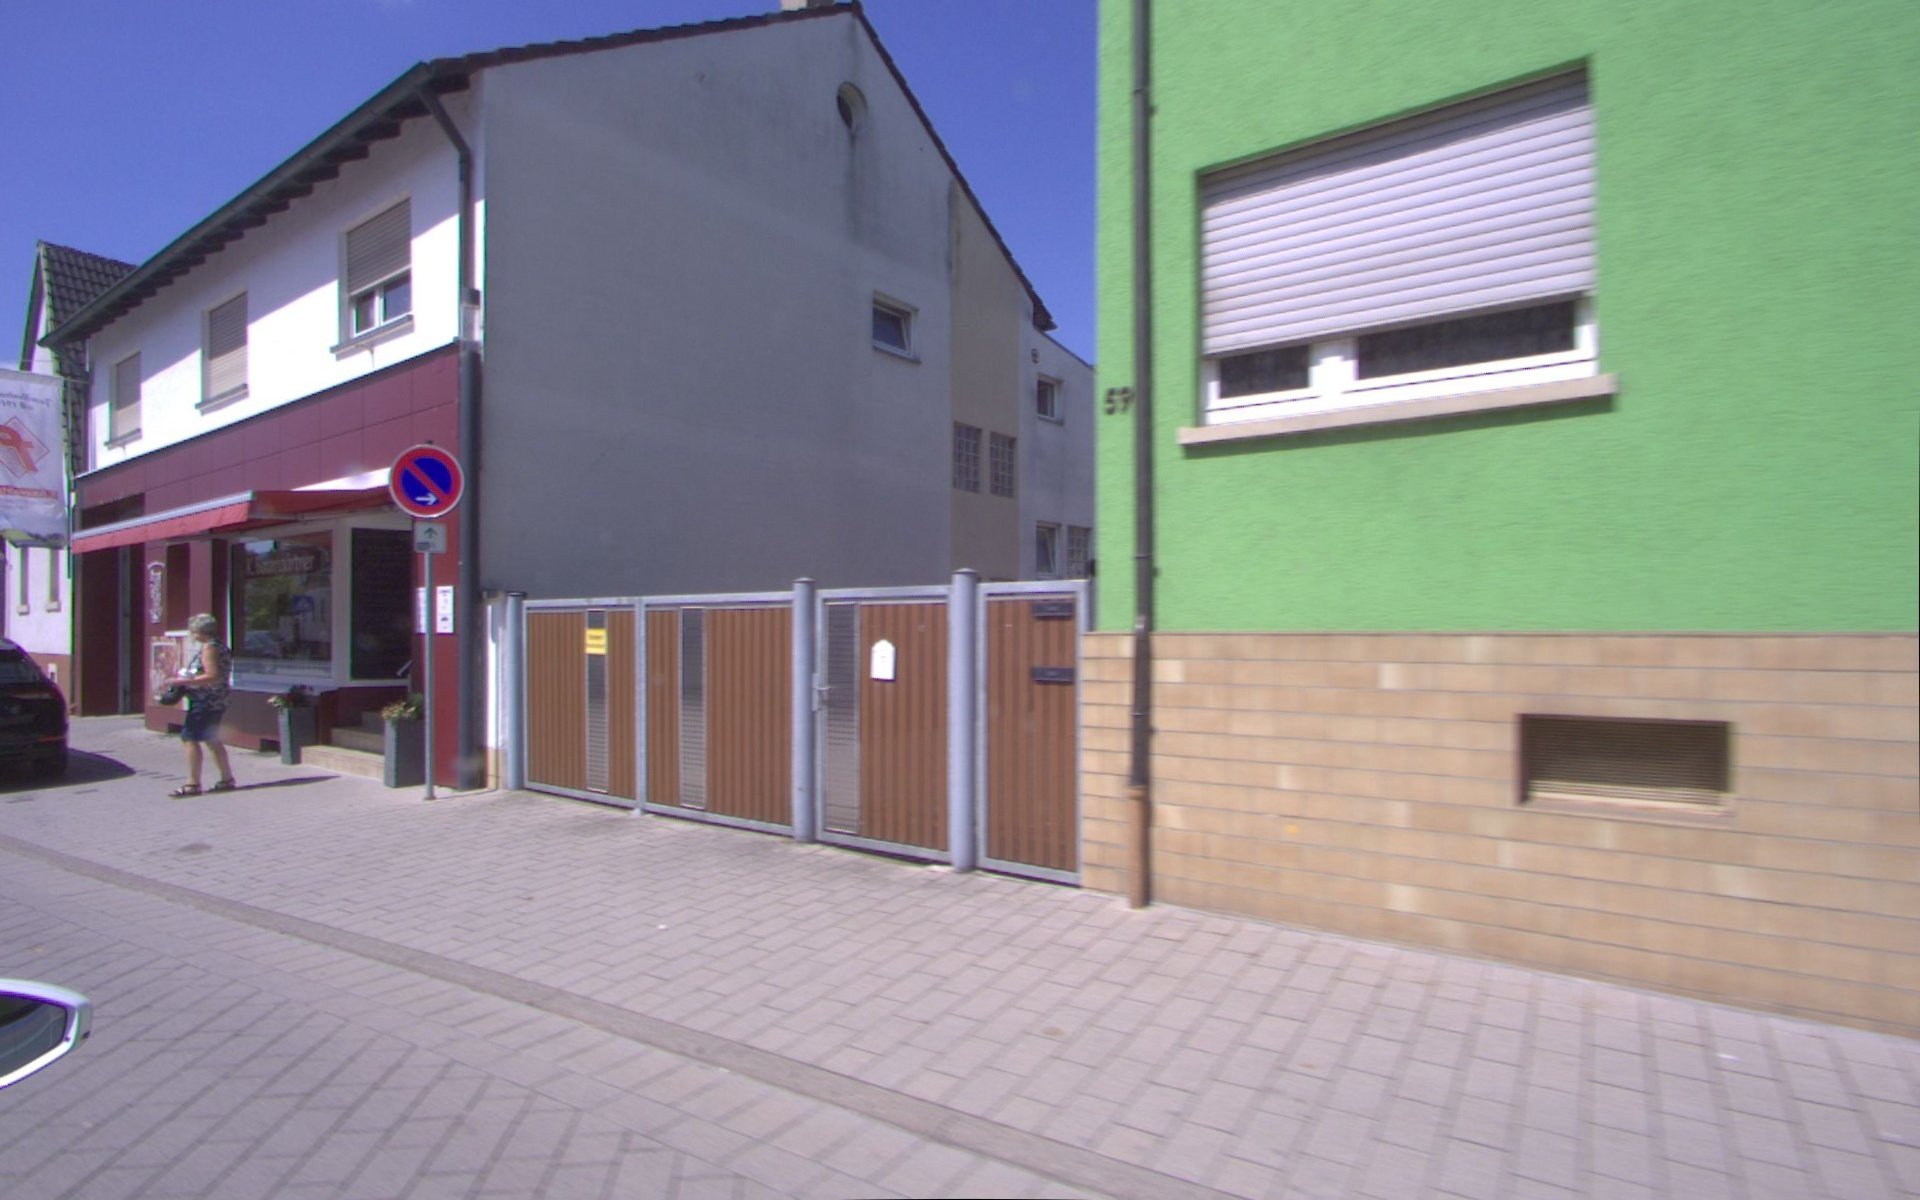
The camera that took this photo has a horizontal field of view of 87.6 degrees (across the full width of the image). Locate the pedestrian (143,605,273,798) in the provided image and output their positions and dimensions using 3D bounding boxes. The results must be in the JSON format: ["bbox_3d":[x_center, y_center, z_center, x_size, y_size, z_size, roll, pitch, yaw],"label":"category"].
[{"bbox_3d":[-6.914,0.894,9.212,0.740,1.662,0.726,-1,2,38],"label":"pedestrian"}]

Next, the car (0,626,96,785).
[{"bbox_3d":[-10.963,1.048,10.701,4.530,1.478,1.850,-1,0,39],"label":"car"}]
